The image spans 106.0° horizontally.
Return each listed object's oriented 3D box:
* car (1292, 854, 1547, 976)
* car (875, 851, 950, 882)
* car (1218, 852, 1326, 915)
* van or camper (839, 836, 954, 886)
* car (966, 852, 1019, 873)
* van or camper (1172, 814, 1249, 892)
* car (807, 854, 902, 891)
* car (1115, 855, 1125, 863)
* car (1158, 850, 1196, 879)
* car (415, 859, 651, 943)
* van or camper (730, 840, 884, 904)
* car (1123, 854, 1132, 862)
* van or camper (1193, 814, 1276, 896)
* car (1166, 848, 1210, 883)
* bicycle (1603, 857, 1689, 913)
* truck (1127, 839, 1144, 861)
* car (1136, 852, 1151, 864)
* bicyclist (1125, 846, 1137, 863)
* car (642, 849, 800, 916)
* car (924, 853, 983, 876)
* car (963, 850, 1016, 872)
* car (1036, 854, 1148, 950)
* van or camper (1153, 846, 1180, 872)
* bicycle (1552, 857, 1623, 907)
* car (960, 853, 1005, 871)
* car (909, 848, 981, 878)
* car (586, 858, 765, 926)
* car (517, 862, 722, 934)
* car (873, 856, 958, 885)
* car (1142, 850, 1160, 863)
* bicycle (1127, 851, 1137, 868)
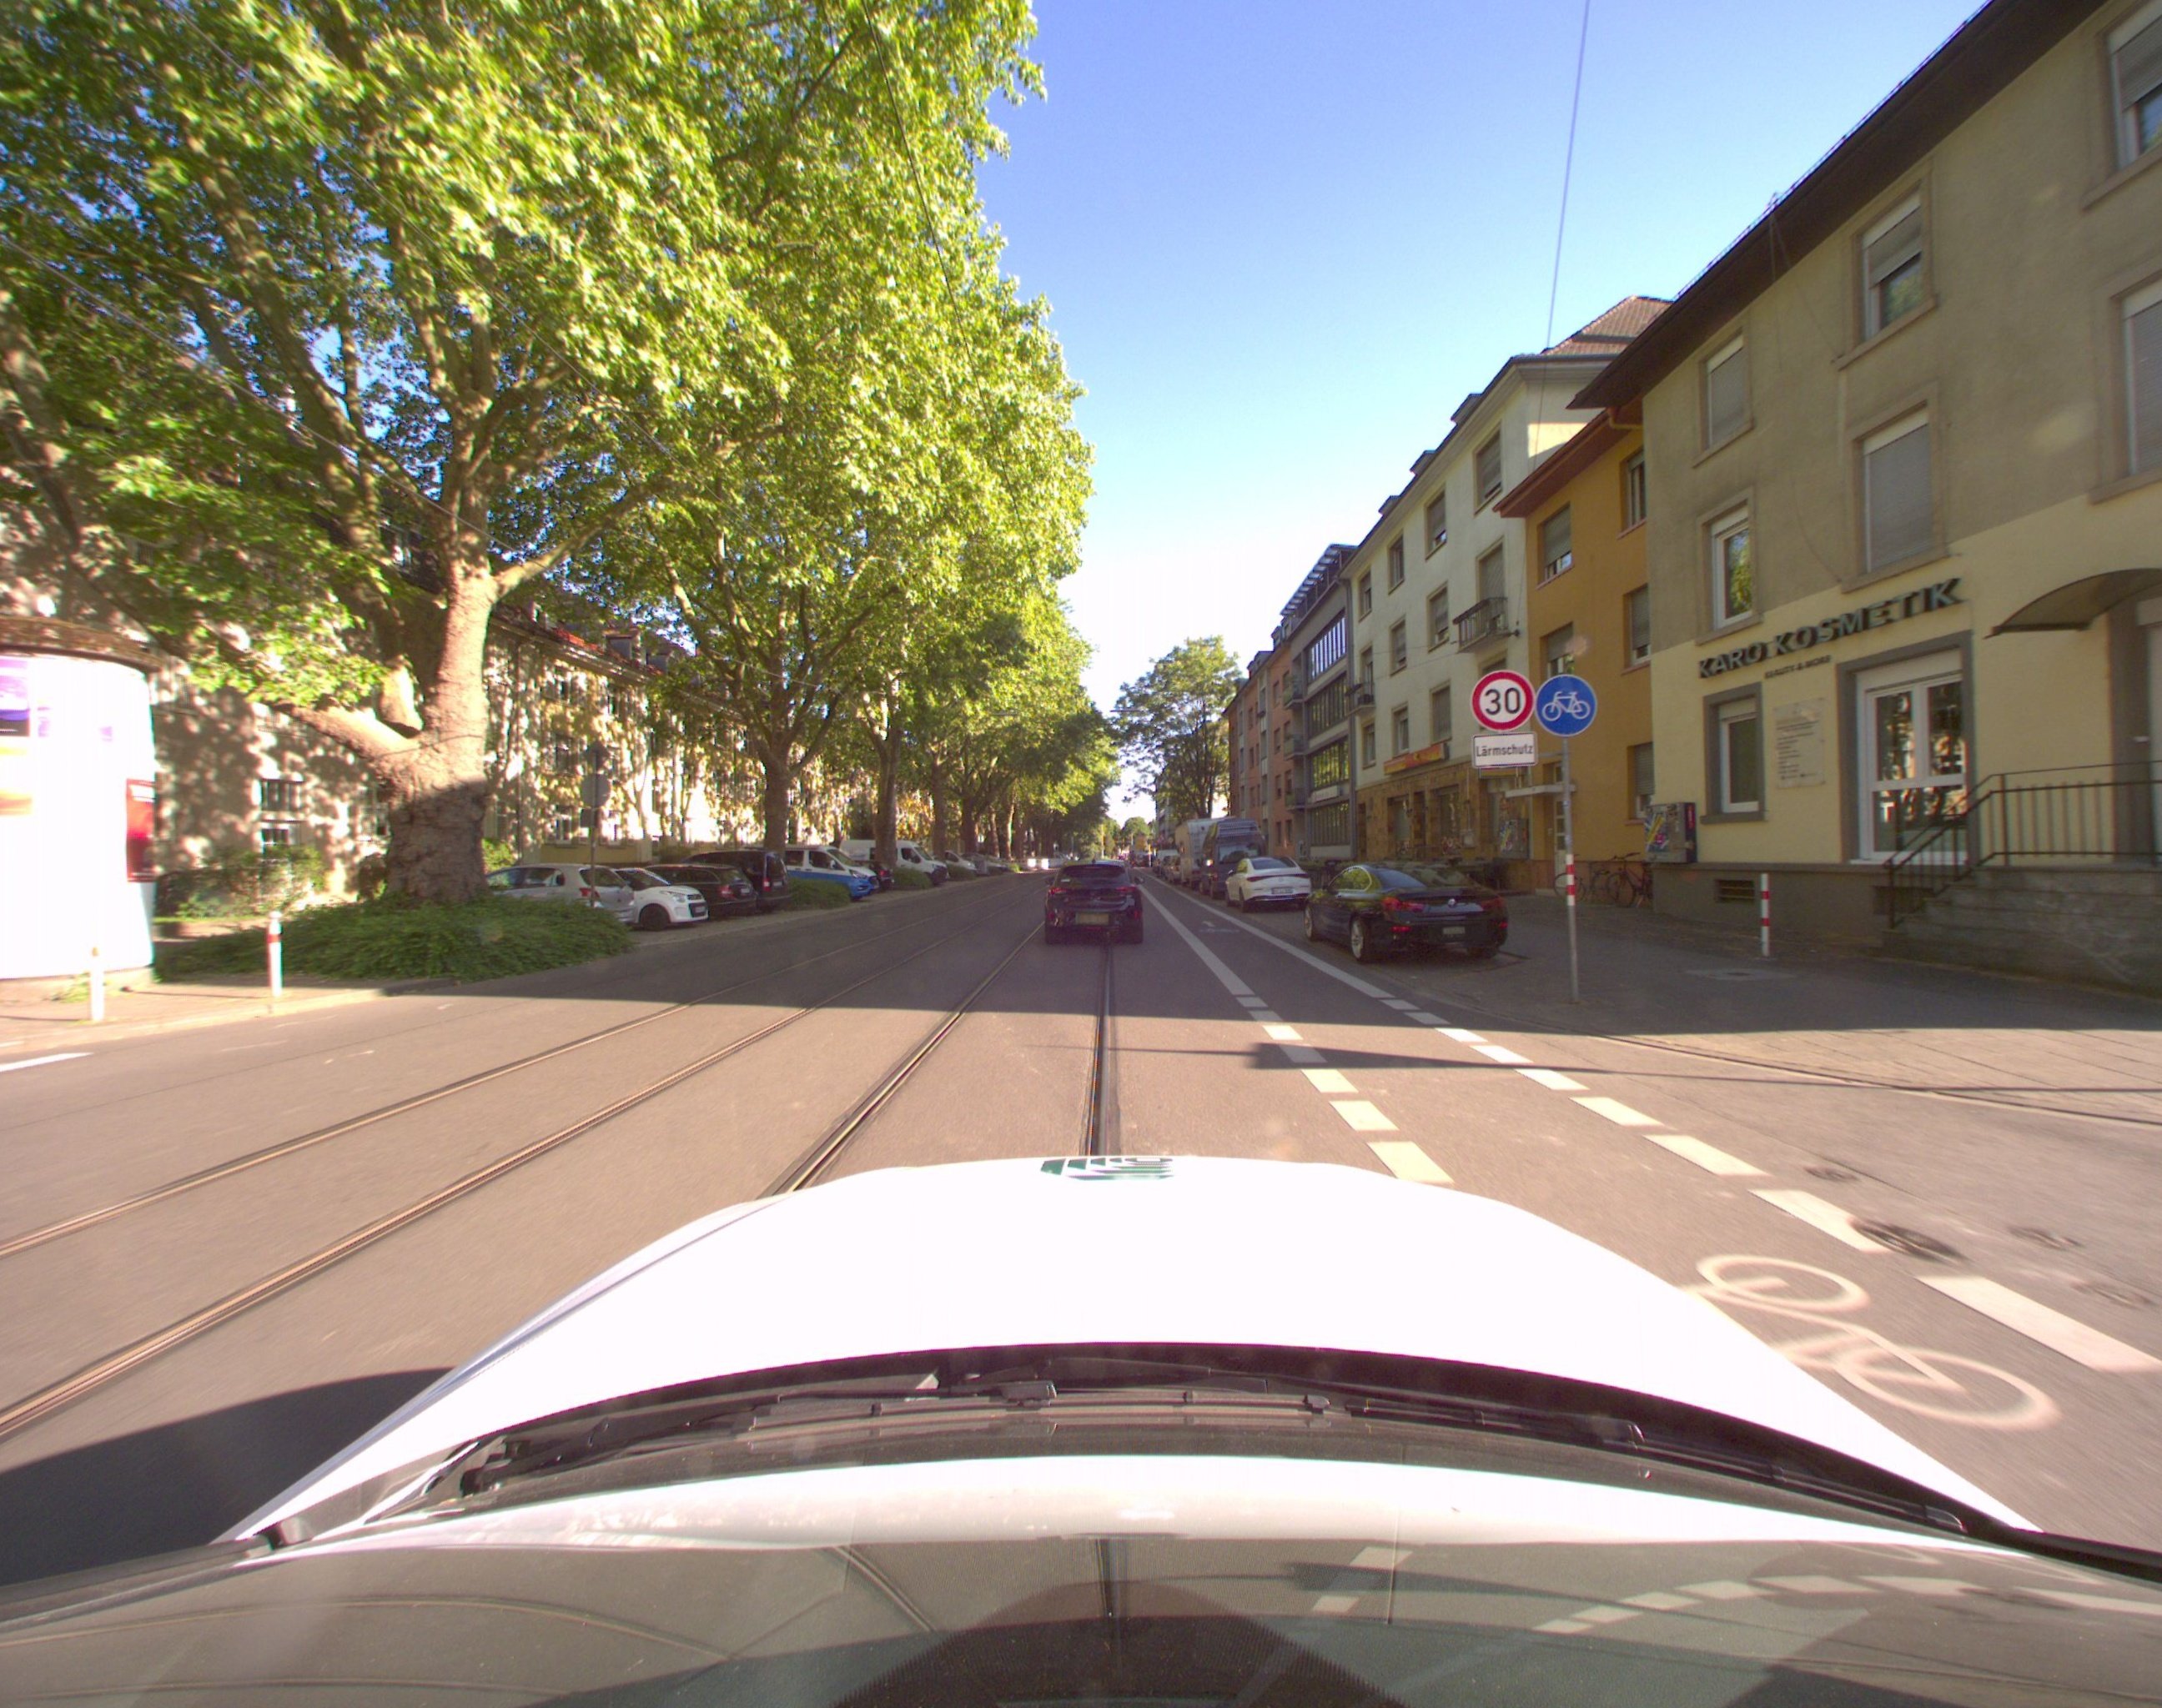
[{"bbox_3d":[4.808,0.755,12.458,1.986,1.380,4.742,-3,0,2],"label":"car"},{"bbox_3d":[-9.657,0.691,46.943,3.832,1.663,1.863,-2,0,2],"label":"car"},{"bbox_3d":[5.220,0.736,22.945,1.986,1.493,4.742,-3,0,2],"label":"car"},{"bbox_3d":[-9.548,0.349,42.480,5.366,2.516,2.447,-1,0,3],"label":"van or camper"},{"bbox_3d":[-7.683,0.728,70.985,4.210,1.688,1.938,-2,0,9],"label":"car"},{"bbox_3d":[5.665,-0.053,36.530,2.453,3.064,6.271,-3,0,2],"label":"van or camper"},{"bbox_3d":[-9.960,0.804,35.878,3.665,1.565,1.615,-1,0,4],"label":"car"},{"bbox_3d":[8.605,1.119,180.875,1.986,1.695,4.742,-3,0,2],"label":"car"},{"bbox_3d":[5.590,0.603,47.956,1.781,1.522,4.324,-3,0,2],"label":"car"},{"bbox_3d":[-10.867,0.910,16.286,3.662,1.554,1.707,-1,0,7],"label":"car"},{"bbox_3d":[-9.823,0.613,29.521,4.807,2.190,2.118,-1,0,-2],"label":"van or camper"},{"bbox_3d":[10.754,0.964,188.663,1.986,1.695,4.742,-3,0,2],"label":"car"},{"bbox_3d":[5.533,0.035,29.993,2.124,2.663,4.981,-3,0,2],"label":"van or camper"},{"bbox_3d":[5.516,0.562,42.606,1.786,1.628,4.278,-3,0,2],"label":"car"},{"bbox_3d":[10.911,0.570,15.800,0.424,0.997,1.859,-1,0,2],"label":"bicycle"},{"bbox_3d":[9.028,-0.627,135.428,2.528,3.338,7.199,-4,0,3],"label":"truck"},{"bbox_3d":[8.128,0.543,106.809,1.653,1.399,4.742,-3,0,2],"label":"car"},{"bbox_3d":[4.732,0.060,77.207,1.085,1.647,1.401,-1,0,2],"label":"bicyclist"},{"bbox_3d":[-10.120,0.778,23.088,3.669,1.814,1.705,-1,0,1],"label":"car"},{"bbox_3d":[-9.108,0.749,58.544,3.832,1.498,1.863,-2,0,2],"label":"car"},{"bbox_3d":[-7.711,0.604,68.596,4.181,1.757,1.741,-1,0,3],"label":"car"},{"bbox_3d":[0.238,0.771,14.961,1.775,1.496,4.002,-1,0,2],"label":"car"},{"bbox_3d":[6.667,0.371,64.170,1.748,1.864,4.832,-2,0,2],"label":"van or camper"},{"bbox_3d":[10.989,0.580,17.731,0.424,0.997,1.859,-1,0,2],"label":"bicycle"},{"bbox_3d":[-9.096,0.755,75.212,3.832,1.498,1.863,-2,0,2],"label":"car"},{"bbox_3d":[-9.225,0.597,55.481,4.649,1.945,1.959,-1,0,-5],"label":"car"},{"bbox_3d":[-10.278,0.932,20.866,3.674,1.624,1.797,-1,0,-4],"label":"car"},{"bbox_3d":[-10.485,0.965,18.725,3.676,1.485,1.699,-1,0,-5],"label":"car"},{"bbox_3d":[-9.059,0.885,44.819,4.247,1.398,1.754,-2,0,2],"label":"car"},{"bbox_3d":[8.033,0.267,93.444,1.727,1.462,3.918,-3,0,2],"label":"car"},{"bbox_3d":[4.820,0.511,77.031,0.912,1.561,3.407,-1,0,3],"label":"bicycle"}]
